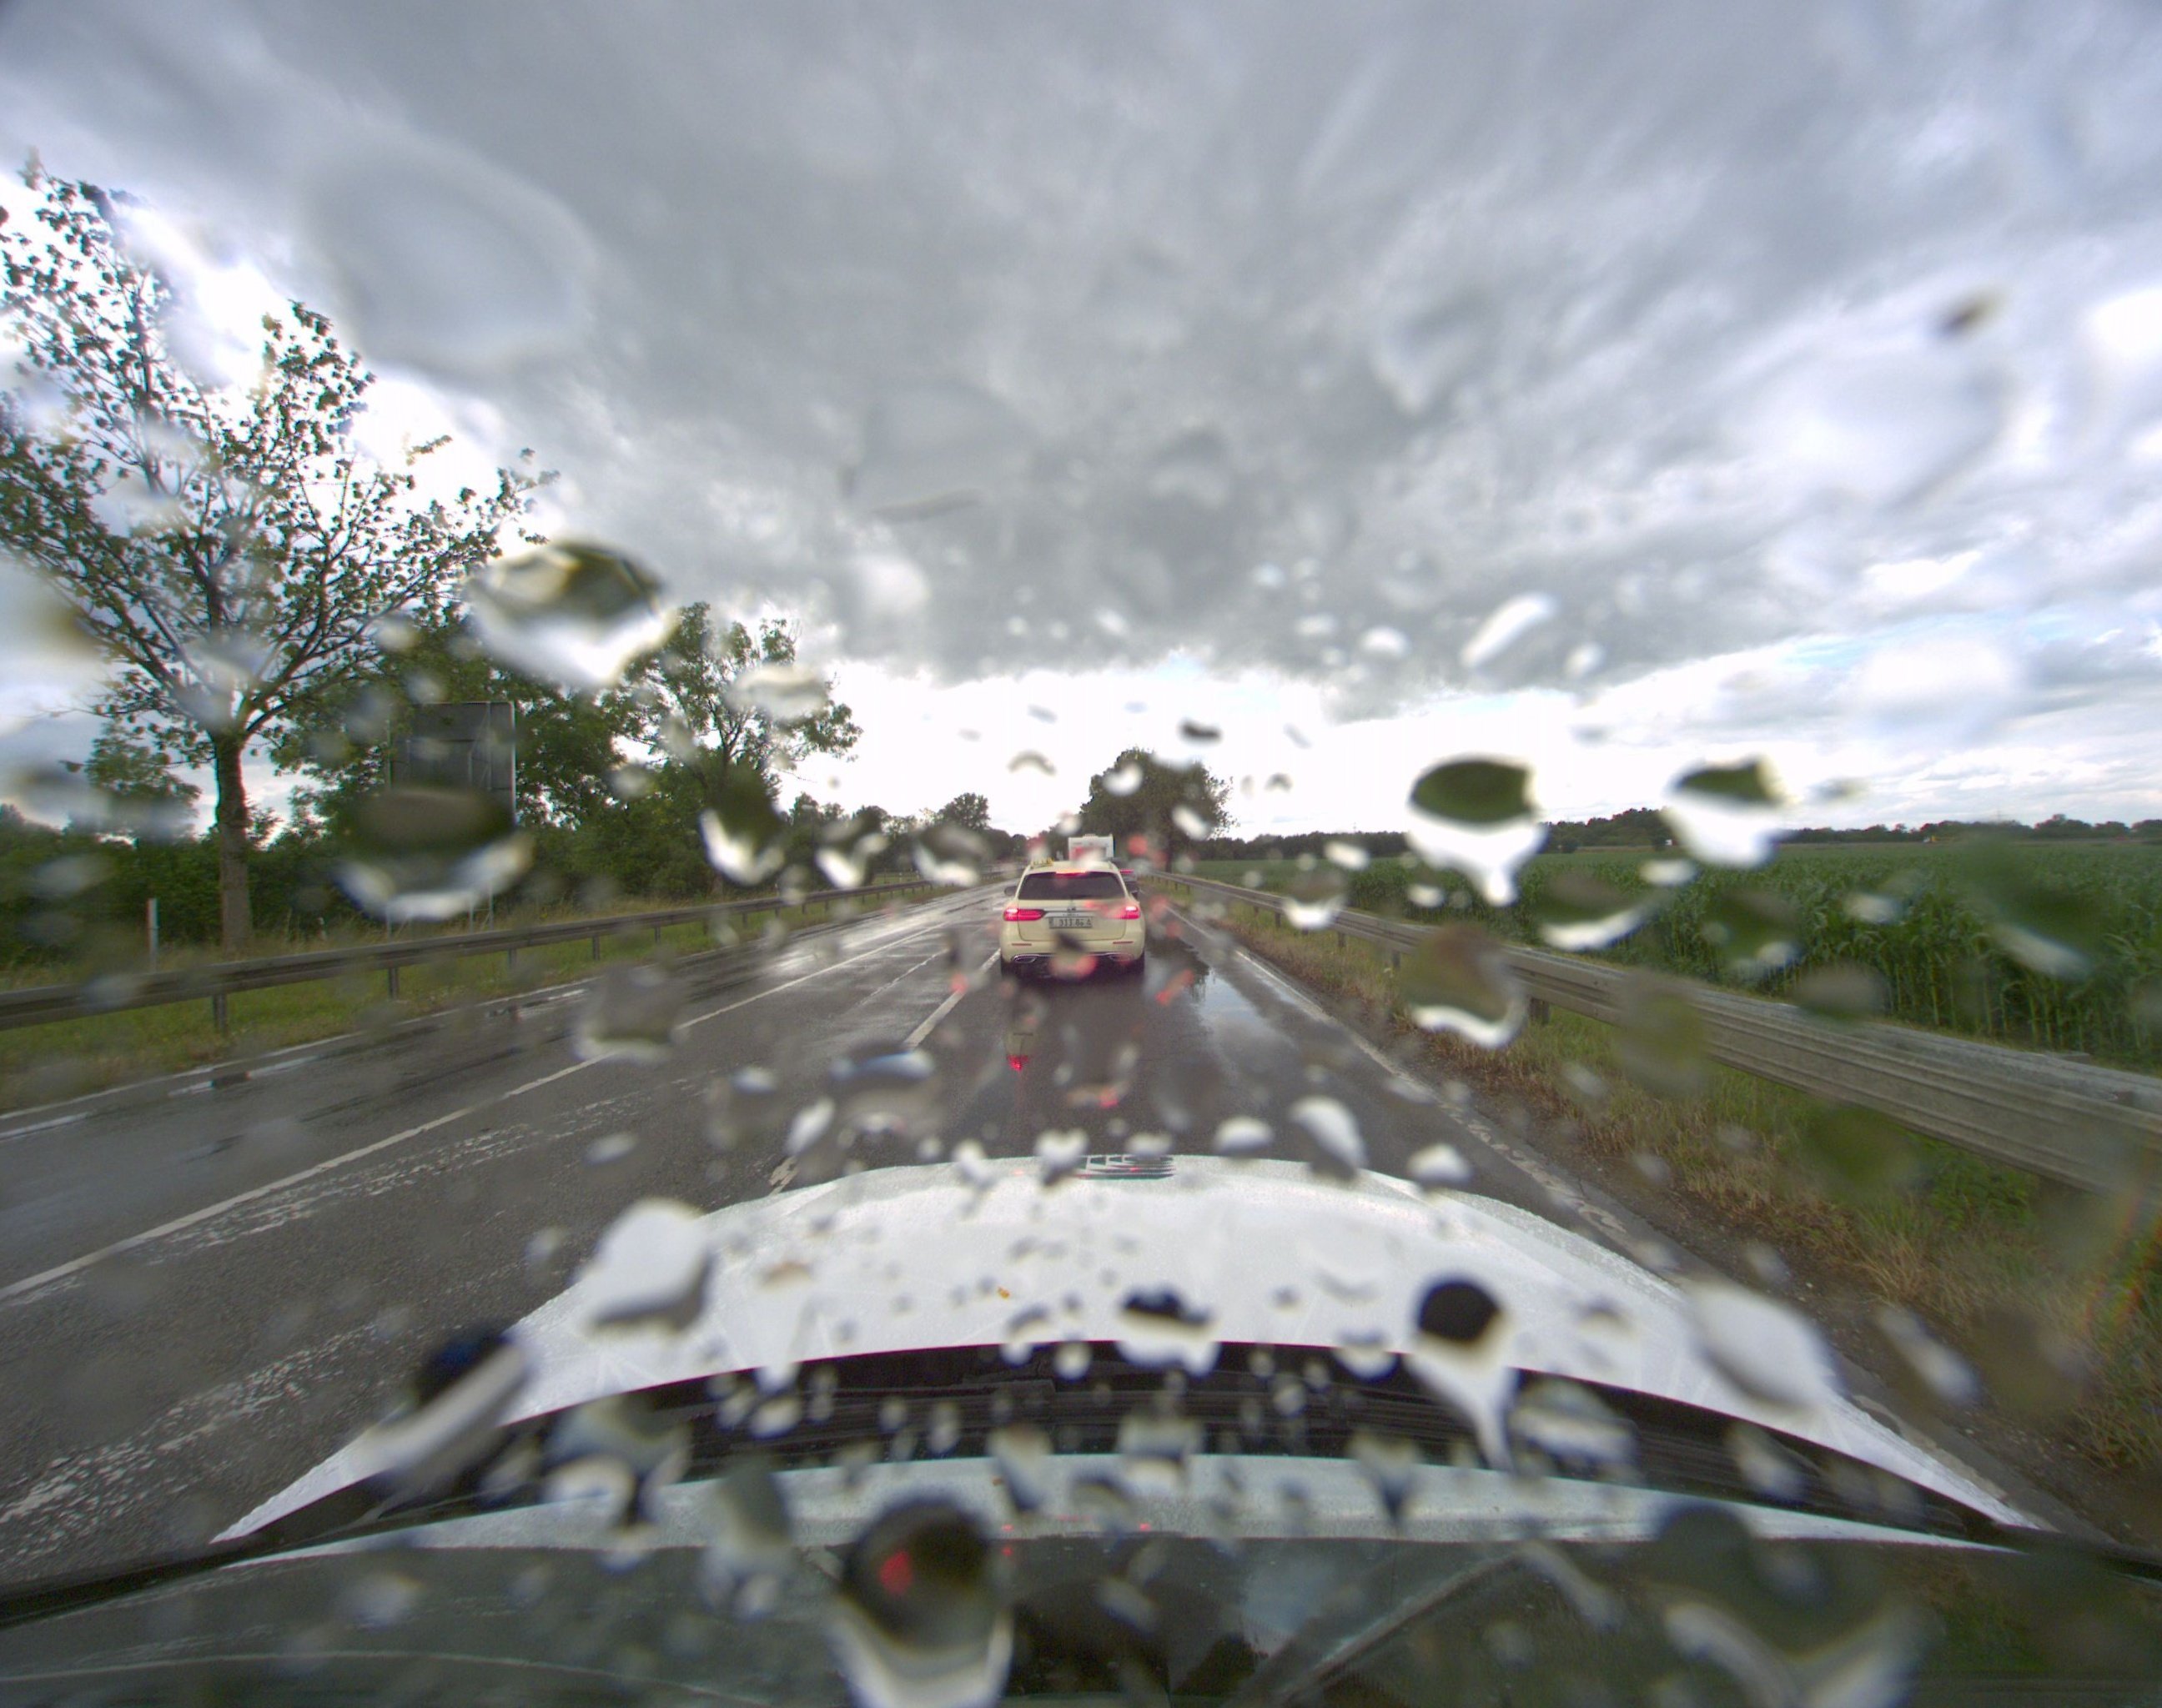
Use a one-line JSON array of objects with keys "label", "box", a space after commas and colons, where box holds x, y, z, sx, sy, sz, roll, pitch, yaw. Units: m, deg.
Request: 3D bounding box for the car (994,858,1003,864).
[{"label": "car", "box": [-22.427, 1.837, 221.615, 1.985, 1.651, 4.003, -1, 0, 3]}]

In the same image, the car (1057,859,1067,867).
[{"label": "car", "box": [-4.616, 2.161, 197.007, 1.986, 2.051, 4.002, -1, 0, 2]}]

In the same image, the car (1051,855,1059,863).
[{"label": "car", "box": [-6.646, 1.304, 209.483, 1.988, 2.014, 3.998, -1, 0, -1]}]

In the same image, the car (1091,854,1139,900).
[{"label": "car", "box": [1.211, 0.797, 29.818, 1.621, 1.529, 3.933, -2, 0, 1]}]

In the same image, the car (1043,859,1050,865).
[{"label": "car", "box": [-10.253, 2.391, 244.882, 1.990, 2.013, 3.994, -1, 0, -4]}]

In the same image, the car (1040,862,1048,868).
[{"label": "car", "box": [-9.755, 2.882, 214.699, 1.752, 1.269, 4.001, -2, 0, 1]}]

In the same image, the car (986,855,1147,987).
[{"label": "car", "box": [-0.076, 0.787, 11.453, 1.818, 1.485, 4.147, -1, 0, 2]}]

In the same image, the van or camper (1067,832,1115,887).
[{"label": "van or camper", "box": [0.580, 0.275, 43.296, 2.342, 2.680, 5.770, -1, 0, 1]}]
